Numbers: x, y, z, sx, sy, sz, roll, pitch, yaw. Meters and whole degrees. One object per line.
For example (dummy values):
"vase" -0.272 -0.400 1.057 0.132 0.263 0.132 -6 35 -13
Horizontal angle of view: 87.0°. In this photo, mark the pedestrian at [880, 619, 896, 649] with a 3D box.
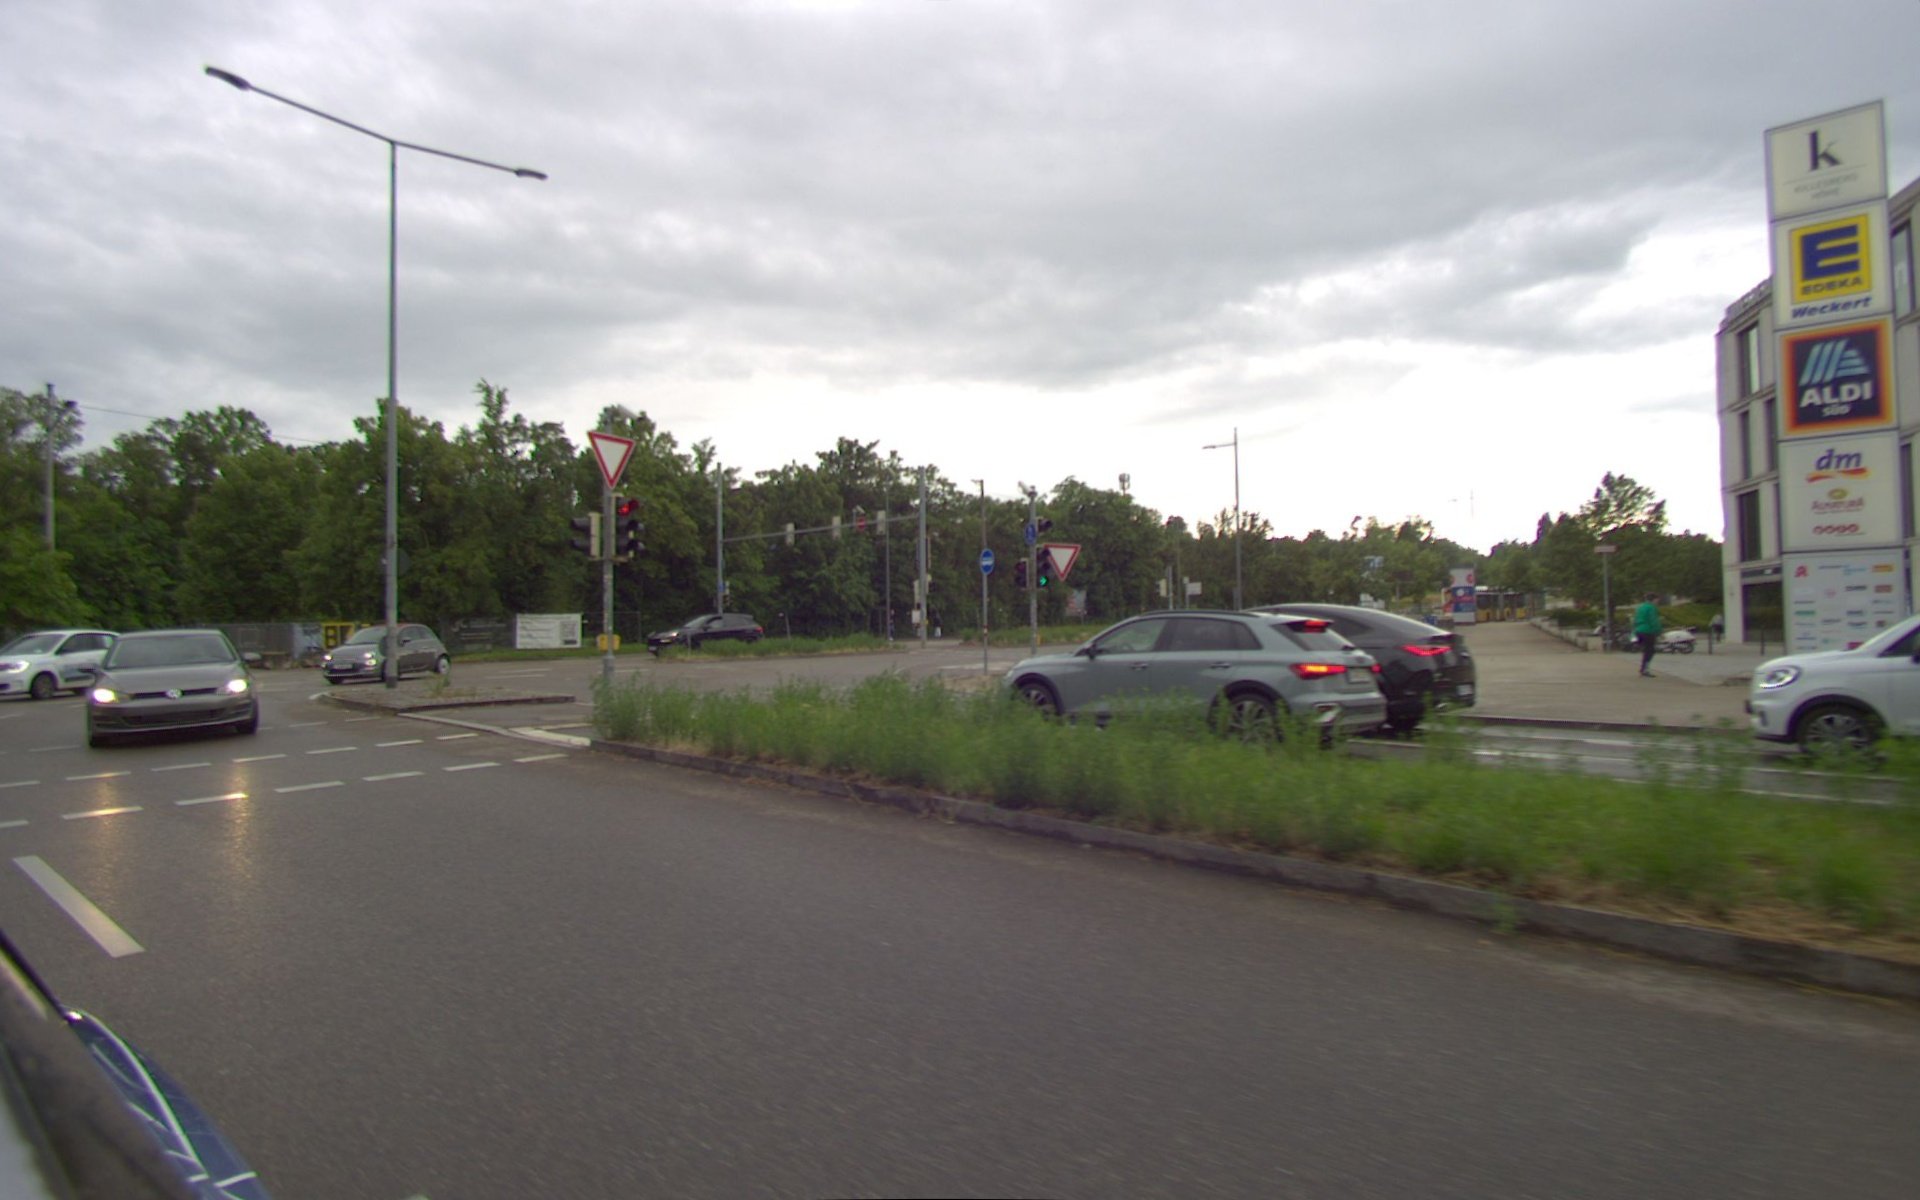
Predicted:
"pedestrian" -4.633 2.169 65.154 0.677 1.898 0.690 -3 -2 42

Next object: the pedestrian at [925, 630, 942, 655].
"pedestrian" -1.815 2.946 69.756 0.822 1.688 0.820 -3 -2 42

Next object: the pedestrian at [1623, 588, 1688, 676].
"pedestrian" 13.829 0.635 20.135 0.669 1.699 0.754 -1 -1 -16

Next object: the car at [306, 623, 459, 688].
"car" -15.201 1.416 26.876 1.652 1.541 3.648 -2 -1 8

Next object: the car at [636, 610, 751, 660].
"car" -10.309 1.326 39.307 1.906 1.785 3.945 -3 -2 41

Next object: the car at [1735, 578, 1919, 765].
"car" 9.167 0.599 8.772 3.702 1.588 1.632 -4 -4 43

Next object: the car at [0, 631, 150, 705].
"car" -21.070 1.533 23.460 1.624 1.532 3.576 -2 -1 3

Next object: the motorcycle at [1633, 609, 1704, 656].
"motorcycle" 22.266 1.036 31.838 1.752 1.413 0.521 -3 -2 37

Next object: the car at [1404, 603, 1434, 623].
"car" 50.490 1.427 111.320 1.998 2.029 3.947 -4 -2 39

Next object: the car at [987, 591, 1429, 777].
"car" 2.484 0.826 10.807 4.164 1.587 1.829 -4 -2 42

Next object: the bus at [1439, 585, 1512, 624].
"bus" 42.902 0.373 84.027 2.881 3.011 9.866 -2 -1 42

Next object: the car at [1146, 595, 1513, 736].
"car" 4.647 0.828 13.092 4.063 1.531 1.805 -3 -4 42

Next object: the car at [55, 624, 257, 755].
"car" -10.937 1.115 14.041 1.874 1.450 4.010 -2 0 -35

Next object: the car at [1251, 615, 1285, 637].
"car" 30.207 2.534 99.142 1.996 2.029 3.951 -2 -2 36
